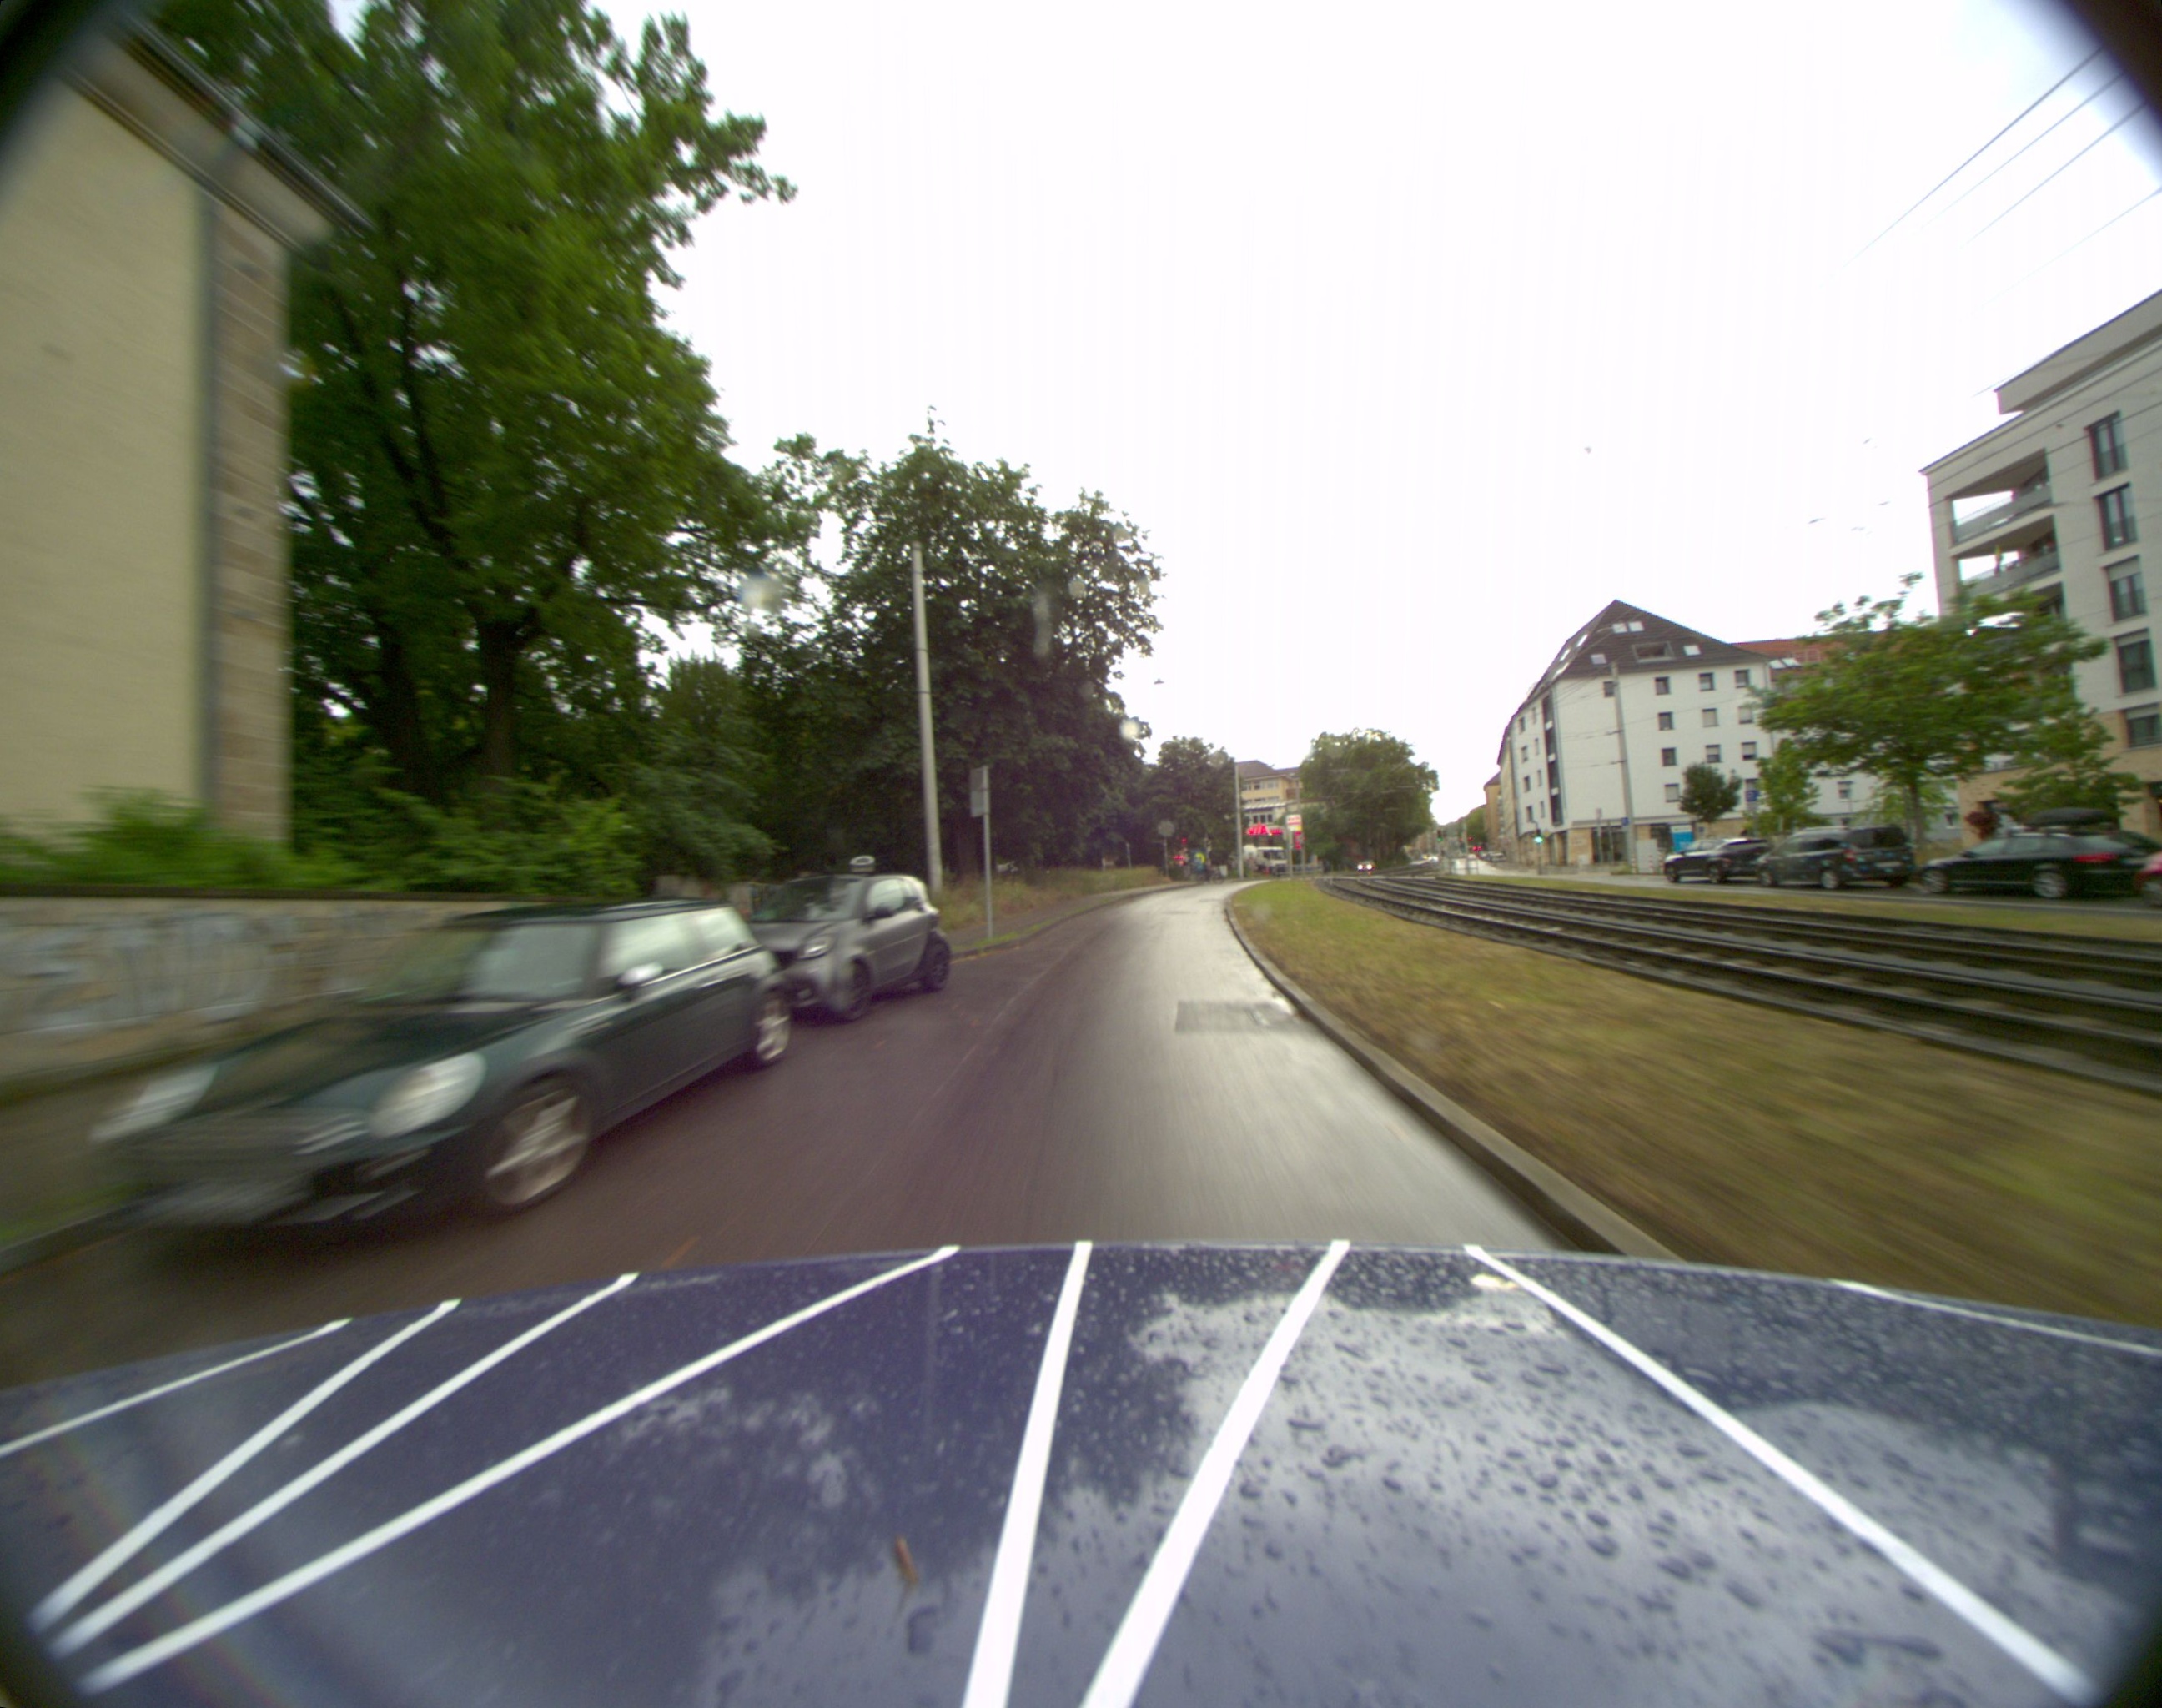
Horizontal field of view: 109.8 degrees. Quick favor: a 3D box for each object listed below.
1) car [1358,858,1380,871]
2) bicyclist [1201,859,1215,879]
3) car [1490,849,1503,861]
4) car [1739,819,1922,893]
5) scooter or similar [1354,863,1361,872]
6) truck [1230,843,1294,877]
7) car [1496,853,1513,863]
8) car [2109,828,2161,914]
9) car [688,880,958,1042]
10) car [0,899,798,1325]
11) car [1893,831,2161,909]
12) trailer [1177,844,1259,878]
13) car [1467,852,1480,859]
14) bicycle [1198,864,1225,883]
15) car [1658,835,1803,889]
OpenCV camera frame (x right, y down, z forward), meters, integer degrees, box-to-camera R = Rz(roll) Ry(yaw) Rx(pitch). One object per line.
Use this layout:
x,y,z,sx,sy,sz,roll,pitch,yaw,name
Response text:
36.367,1.299,95.879,1.886,1.482,3.856,-2,0,31,car
8.502,1.024,50.847,0.799,1.287,0.595,-3,1,6,bicyclist
74.563,0.152,136.427,1.726,1.948,4.307,-3,-1,27,car
21.751,0.069,22.337,1.584,1.848,4.336,-5,-1,11,car
39.860,1.961,109.630,0.399,1.186,1.365,-3,2,42,scooter or similar
18.885,0.650,79.677,2.842,3.379,6.111,-1,-1,-34,truck
70.201,0.637,126.058,2.027,1.533,4.007,-3,-1,25,car
19.831,0.268,12.770,1.471,1.522,2.934,-3,-1,15,car
-2.781,1.082,8.742,1.600,1.457,2.724,-1,0,18,car
-3.283,1.091,4.686,1.539,1.408,3.645,-1,0,3,car
21.056,0.315,17.032,1.553,1.438,4.403,-4,-1,11,car
15.154,0.873,85.038,2.818,3.375,9.813,-2,-1,-35,trailer
95.652,0.328,185.215,1.689,1.527,5.024,-3,-1,16,car
8.689,1.291,50.650,1.710,1.133,0.626,-3,0,7,bicycle
22.853,0.255,26.992,1.997,1.595,4.219,-6,-1,11,car
